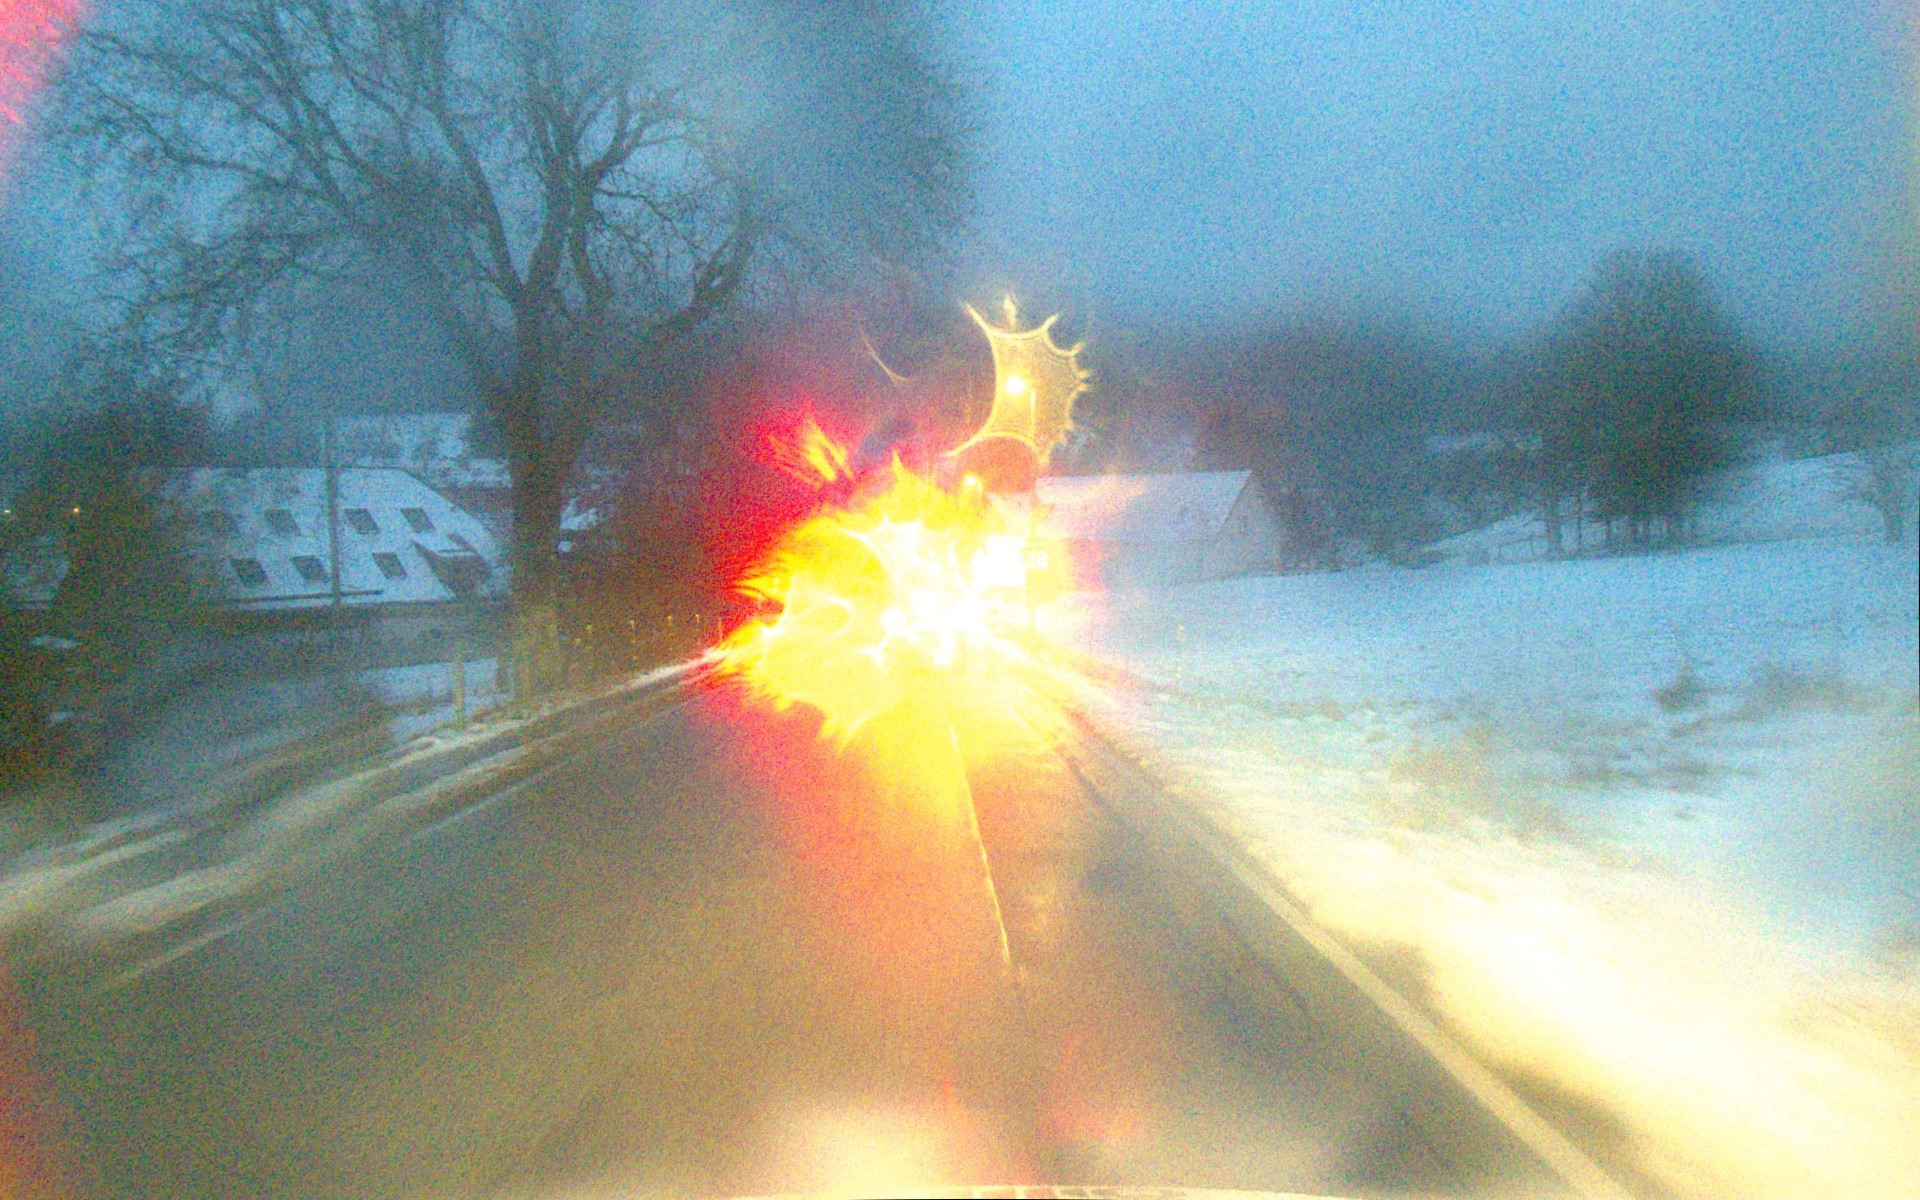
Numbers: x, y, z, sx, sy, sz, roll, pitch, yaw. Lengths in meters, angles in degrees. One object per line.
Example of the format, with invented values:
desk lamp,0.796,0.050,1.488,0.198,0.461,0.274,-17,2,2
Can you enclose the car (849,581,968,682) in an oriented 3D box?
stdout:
car,-1.042,0.621,33.446,2.228,1.873,5.004,0,-1,-2

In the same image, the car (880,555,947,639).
car,-1.779,-0.046,65.591,2.385,3.072,5.324,-1,-2,0
